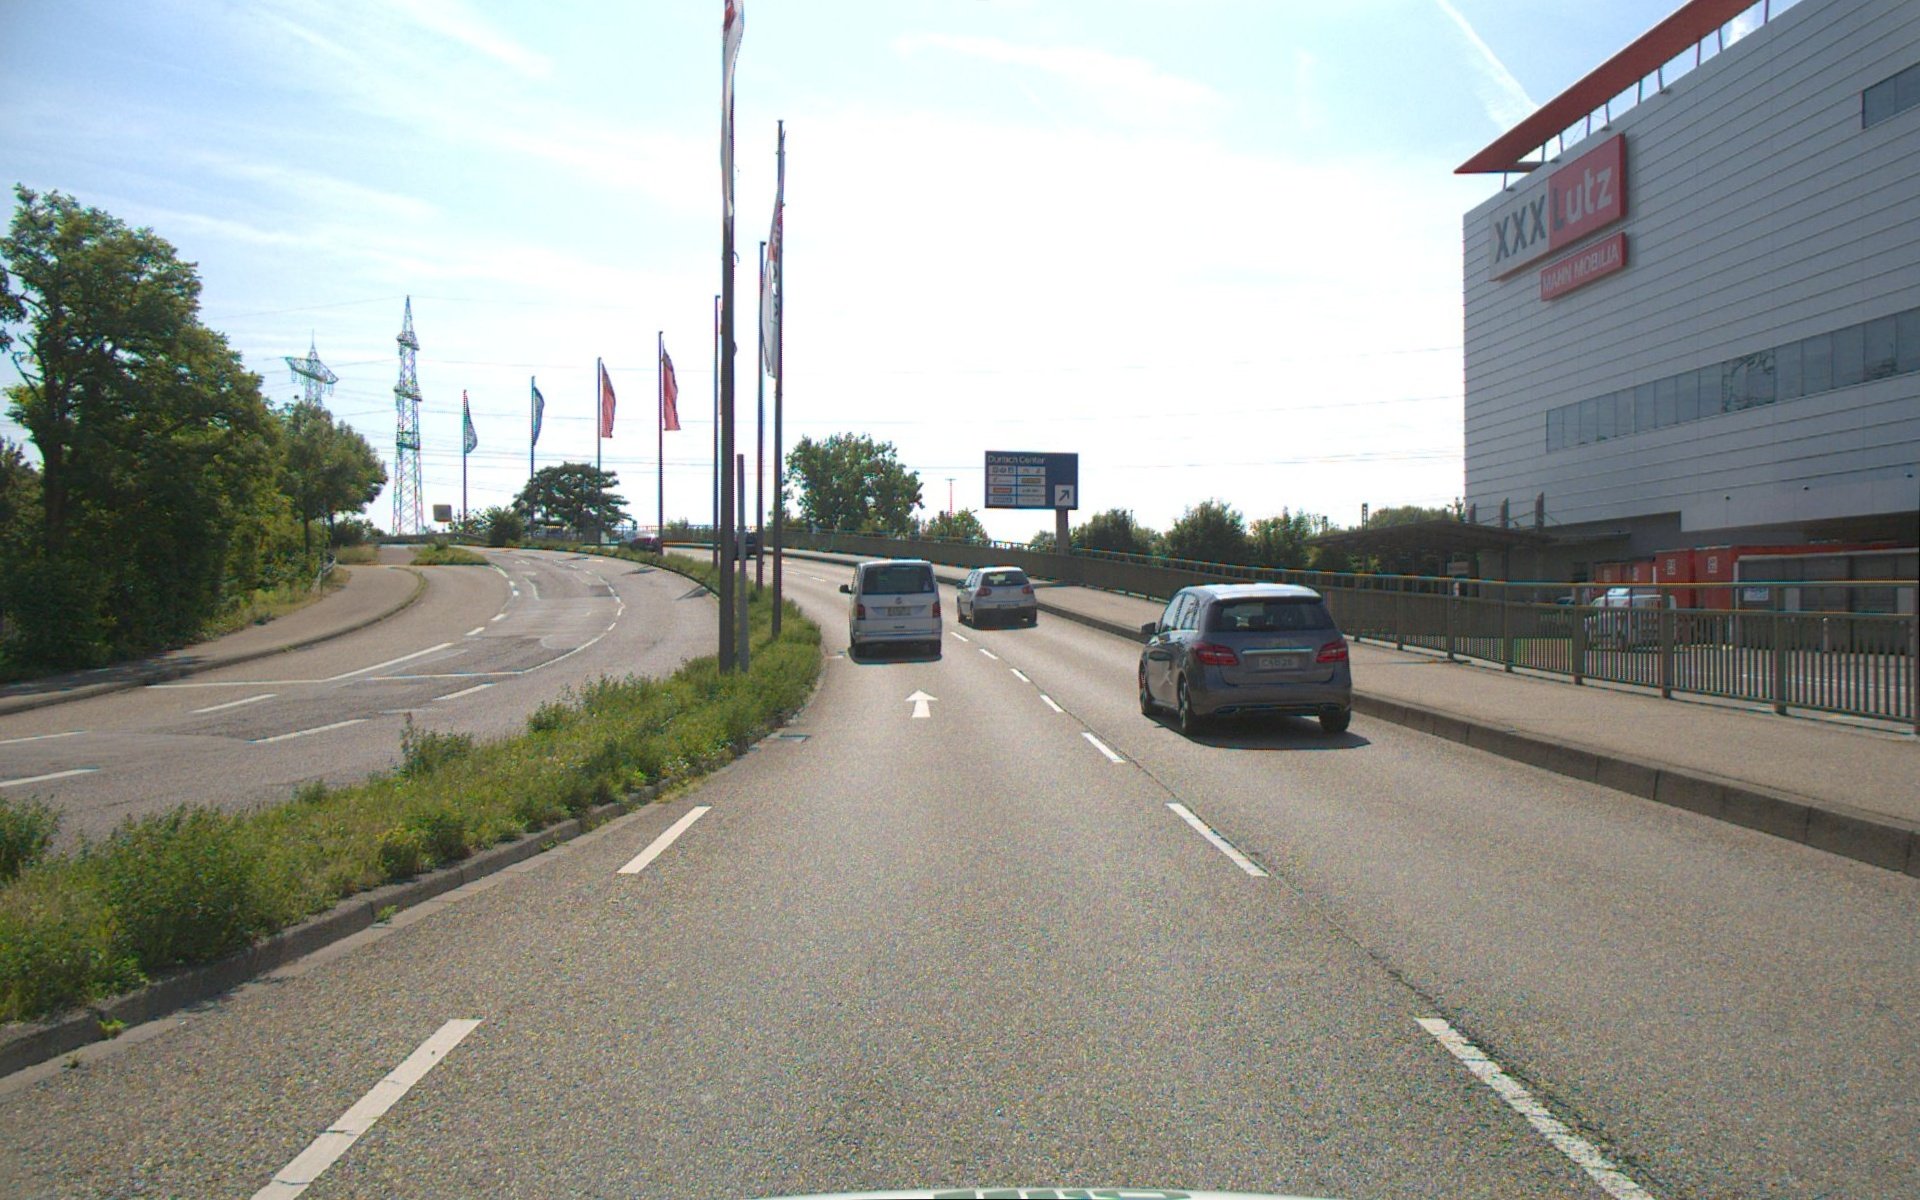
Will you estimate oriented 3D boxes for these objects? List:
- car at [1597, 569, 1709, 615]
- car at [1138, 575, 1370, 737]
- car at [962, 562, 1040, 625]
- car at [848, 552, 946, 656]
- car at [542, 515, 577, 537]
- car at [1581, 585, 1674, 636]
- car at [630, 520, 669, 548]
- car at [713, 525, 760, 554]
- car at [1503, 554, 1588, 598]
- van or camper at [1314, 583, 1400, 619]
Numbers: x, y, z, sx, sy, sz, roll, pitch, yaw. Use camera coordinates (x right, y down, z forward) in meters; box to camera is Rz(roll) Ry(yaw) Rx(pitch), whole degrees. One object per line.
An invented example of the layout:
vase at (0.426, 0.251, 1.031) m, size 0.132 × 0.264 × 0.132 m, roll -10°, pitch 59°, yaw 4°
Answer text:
car at (29.907, -0.352, 71.480) m, size 4.104 × 1.963 × 1.775 m, roll 0°, pitch 0°, yaw -3°
car at (3.152, 0.524, 18.524) m, size 1.738 × 1.566 × 4.137 m, roll -1°, pitch 1°, yaw -2°
car at (1.065, -0.208, 44.442) m, size 1.634 × 1.438 × 3.679 m, roll -1°, pitch 3°, yaw -5°
car at (-1.303, 0.015, 35.705) m, size 1.878 × 2.009 × 4.298 m, roll -2°, pitch 2°, yaw 0°
car at (-30.797, -5.673, 127.104) m, size 1.517 × 1.506 × 3.385 m, roll 1°, pitch 0°, yaw -34°
car at (24.529, 0.355, 60.925) m, size 1.639 × 1.782 × 4.092 m, roll 0°, pitch 1°, yaw -2°
car at (-18.433, -3.892, 98.221) m, size 1.511 × 1.506 × 3.221 m, roll 1°, pitch 0°, yaw -25°
car at (-12.298, -3.330, 90.971) m, size 1.512 × 1.505 × 3.566 m, roll 0°, pitch 2°, yaw -26°
car at (31.499, -1.297, 89.023) m, size 3.998 × 2.313 × 1.677 m, roll 0°, pitch 0°, yaw -3°
van or camper at (26.792, 0.062, 111.565) m, size 5.336 × 2.217 × 2.094 m, roll 2°, pitch -1°, yaw -18°
